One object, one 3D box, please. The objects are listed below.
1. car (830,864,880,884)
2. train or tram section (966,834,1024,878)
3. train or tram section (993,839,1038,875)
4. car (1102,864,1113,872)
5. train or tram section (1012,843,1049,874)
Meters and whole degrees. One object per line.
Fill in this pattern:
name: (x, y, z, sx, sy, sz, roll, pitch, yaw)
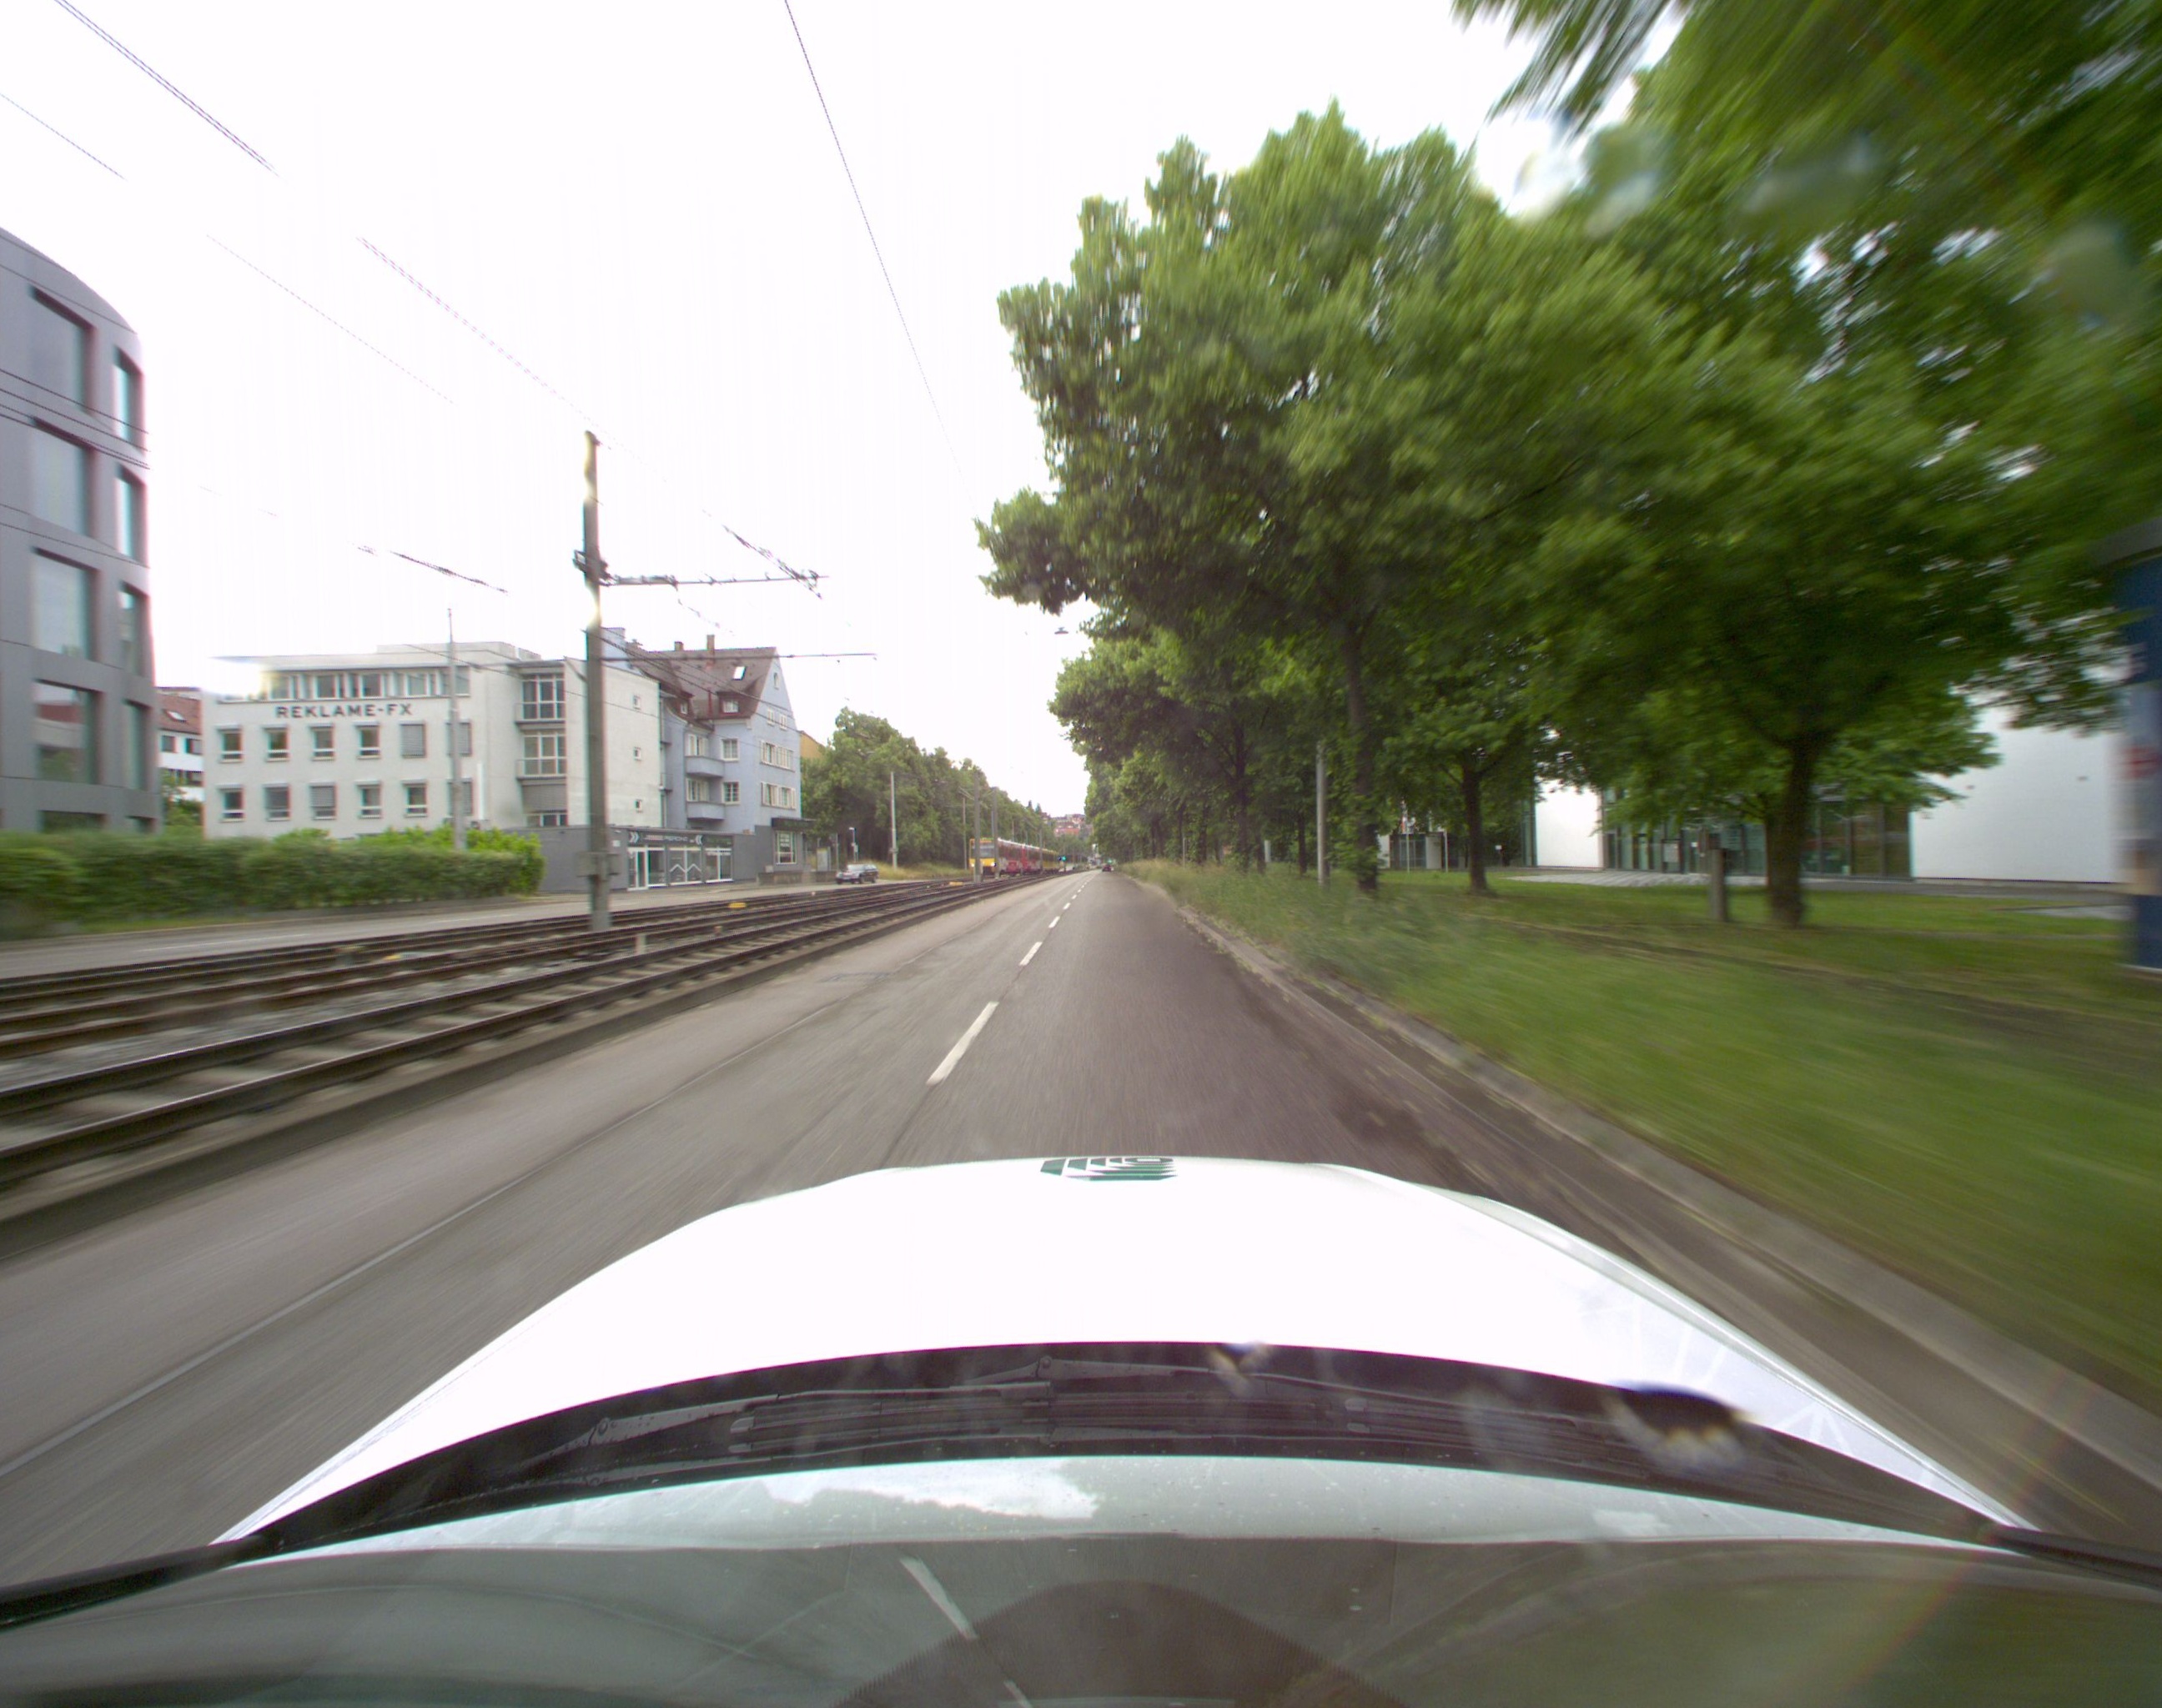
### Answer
car: (-15.911, 1.392, 57.603, 1.894, 1.325, 4.829, -1, -1, 3)
train or tram section: (-8.195, 0.277, 79.799, 3.201, 3.796, 14.800, -1, -1, 3)
train or tram section: (-7.420, 0.397, 94.622, 3.201, 3.796, 14.800, -1, -1, 3)
car: (5.027, 2.713, 155.074, 1.975, 1.440, 4.476, -1, 0, 2)
train or tram section: (-6.576, 0.655, 109.503, 3.201, 3.796, 14.800, -1, -1, 3)
